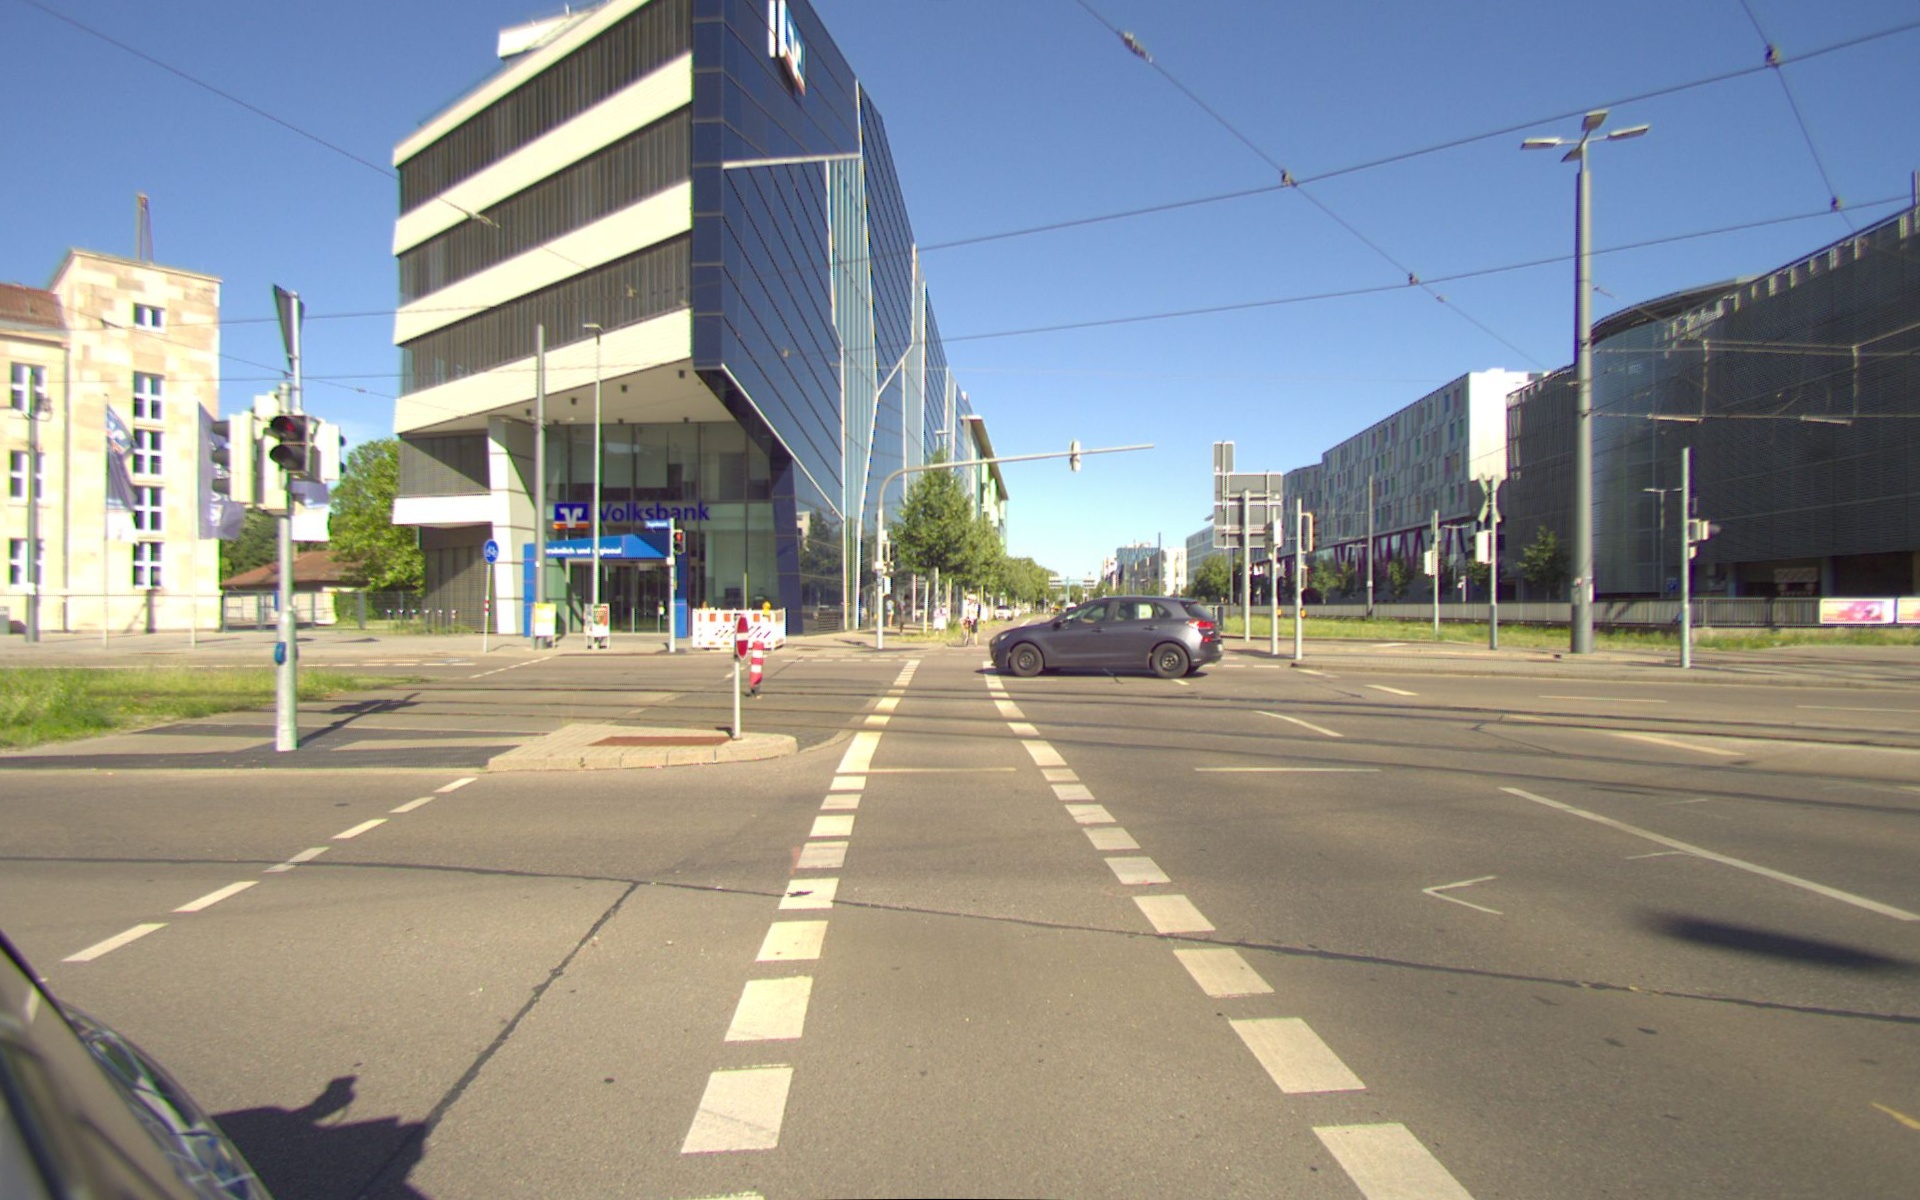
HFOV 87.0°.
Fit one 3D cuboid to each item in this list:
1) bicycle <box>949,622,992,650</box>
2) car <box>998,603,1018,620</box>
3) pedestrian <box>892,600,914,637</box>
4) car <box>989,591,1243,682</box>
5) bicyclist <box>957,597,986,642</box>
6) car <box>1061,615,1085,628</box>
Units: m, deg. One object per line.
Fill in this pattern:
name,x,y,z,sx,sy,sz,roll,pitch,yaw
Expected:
bicycle,0.356,1.143,32.524,0.763,0.846,2.555,0,-2,15
car,5.034,1.243,106.435,1.975,1.741,3.994,0,-1,5
pedestrian,-2.429,0.778,43.042,0.848,1.567,0.612,0,-1,9
car,2.880,0.624,18.595,4.282,1.511,1.985,0,-1,23
bicyclist,0.383,0.622,32.583,0.755,1.420,0.768,0,-1,15
car,9.846,1.862,88.602,1.975,1.098,3.994,0,-1,5
